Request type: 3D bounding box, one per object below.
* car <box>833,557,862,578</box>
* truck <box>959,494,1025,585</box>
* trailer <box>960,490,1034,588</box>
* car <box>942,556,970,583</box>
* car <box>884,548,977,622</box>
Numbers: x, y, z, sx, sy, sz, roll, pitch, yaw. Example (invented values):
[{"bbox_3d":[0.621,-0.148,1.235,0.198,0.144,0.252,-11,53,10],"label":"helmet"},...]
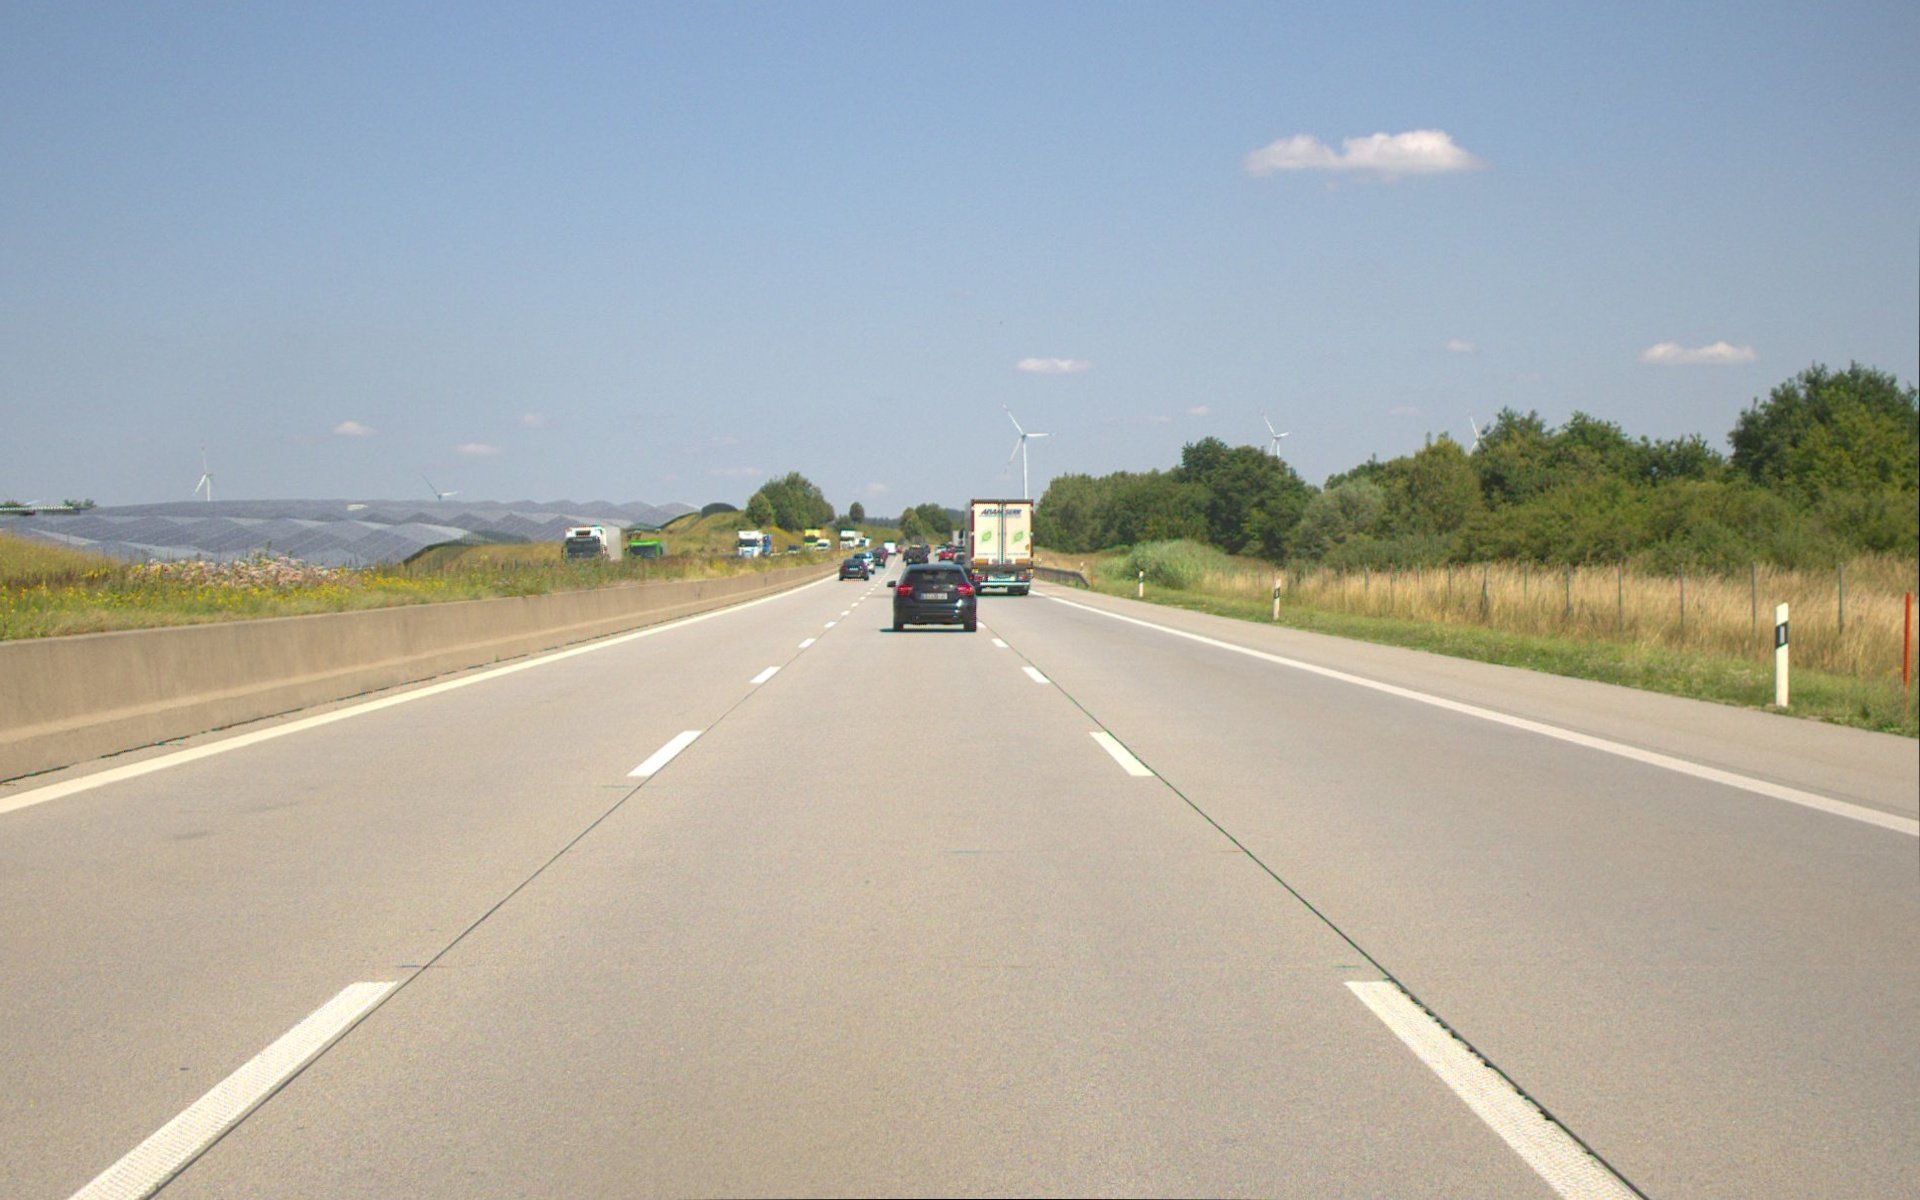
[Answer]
[{"bbox_3d":[-7.036,-2.045,215.530,1.655,1.192,3.960,3,1,-1],"label":"car"},{"bbox_3d":[1.423,-2.744,156.709,2.812,4.074,5.799,1,1,-1],"label":"truck"},{"bbox_3d":[1.539,-2.610,149.154,2.852,4.029,12.714,1,1,-1],"label":"trailer"},{"bbox_3d":[-0.303,-2.224,251.137,1.827,1.900,4.000,1,0,3],"label":"car"},{"bbox_3d":[-0.662,-0.349,73.777,1.910,1.487,4.192,1,1,-1],"label":"car"}]
